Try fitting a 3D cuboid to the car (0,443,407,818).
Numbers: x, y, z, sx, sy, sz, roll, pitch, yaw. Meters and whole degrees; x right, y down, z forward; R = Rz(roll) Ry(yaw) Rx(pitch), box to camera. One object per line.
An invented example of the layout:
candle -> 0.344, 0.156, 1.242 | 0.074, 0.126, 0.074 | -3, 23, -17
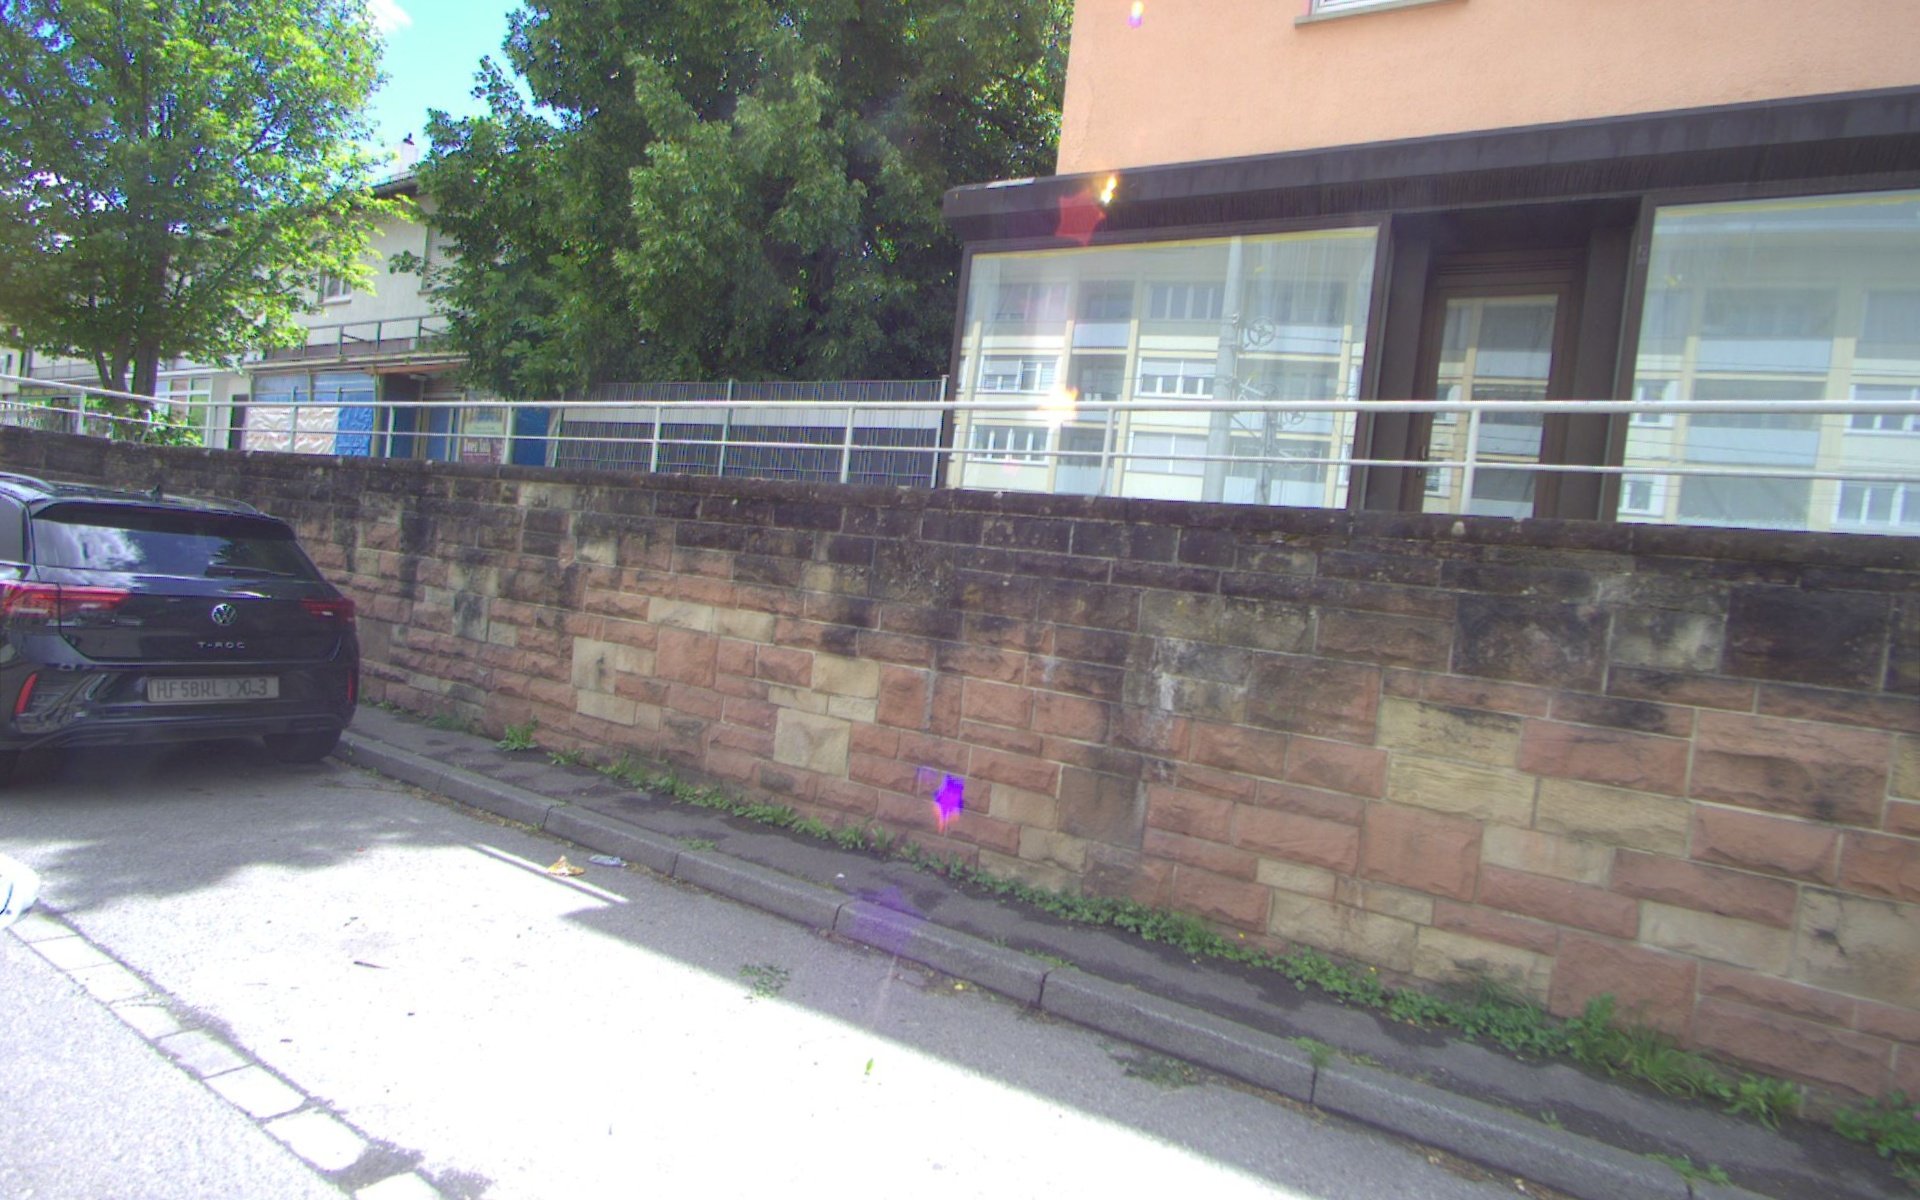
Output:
car -> -5.447, -0.010, 6.175 | 3.934, 1.660, 1.852 | 7, 1, 32
